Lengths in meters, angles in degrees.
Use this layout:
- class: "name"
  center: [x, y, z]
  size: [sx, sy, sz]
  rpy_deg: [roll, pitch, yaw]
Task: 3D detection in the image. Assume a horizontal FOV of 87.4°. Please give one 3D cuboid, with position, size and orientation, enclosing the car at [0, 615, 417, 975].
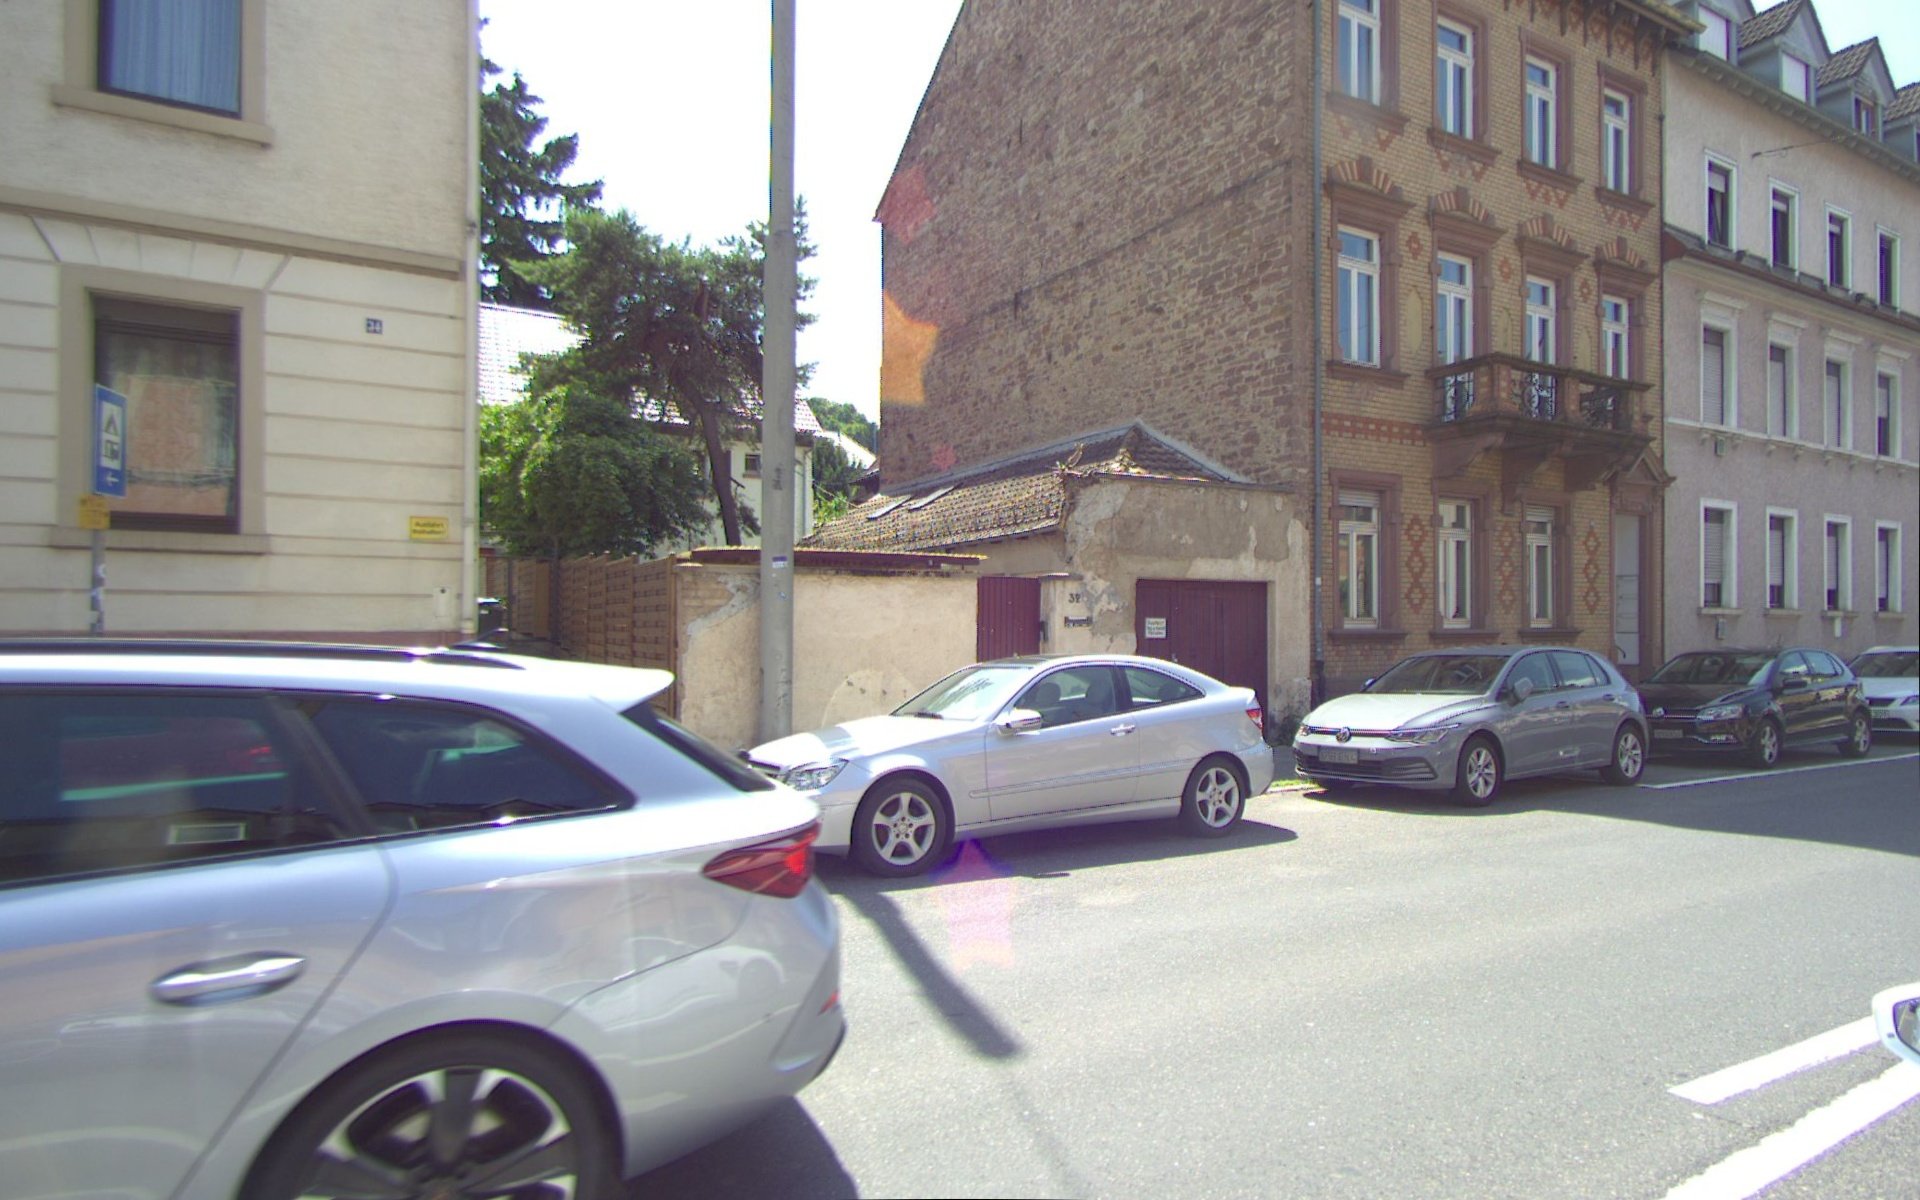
- class: "car"
  center: [-4.984, 0.808, 4.405]
  size: [4.454, 1.441, 1.830]
  rpy_deg: [2, -4, -33]

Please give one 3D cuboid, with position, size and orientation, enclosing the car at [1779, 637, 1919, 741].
- class: "car"
  center: [14.979, 1.344, 15.830]
  size: [4.451, 1.441, 1.831]
  rpy_deg: [2, -3, -31]

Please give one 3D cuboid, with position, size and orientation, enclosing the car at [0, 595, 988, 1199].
- class: "car"
  center: [-2.213, 0.740, 2.312]
  size: [4.261, 1.439, 1.784]
  rpy_deg: [1, -3, -28]

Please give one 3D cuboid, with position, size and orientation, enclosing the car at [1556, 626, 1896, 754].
- class: "car"
  center: [10.087, 1.140, 13.181]
  size: [4.446, 1.441, 1.833]
  rpy_deg: [2, -5, -28]

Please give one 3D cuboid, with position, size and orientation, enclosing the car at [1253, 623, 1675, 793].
- class: "car"
  center: [5.351, 1.064, 10.535]
  size: [4.451, 1.440, 1.831]
  rpy_deg: [2, -5, -31]

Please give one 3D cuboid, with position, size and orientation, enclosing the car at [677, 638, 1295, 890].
- class: "car"
  center: [0.303, 1.041, 7.688]
  size: [4.449, 1.441, 1.831]
  rpy_deg: [2, -3, -30]

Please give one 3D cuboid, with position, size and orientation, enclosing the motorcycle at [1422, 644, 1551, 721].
- class: "motorcycle"
  center: [7.931, 1.220, 15.122]
  size: [1.911, 1.067, 0.710]
  rpy_deg: [2, 0, -26]
